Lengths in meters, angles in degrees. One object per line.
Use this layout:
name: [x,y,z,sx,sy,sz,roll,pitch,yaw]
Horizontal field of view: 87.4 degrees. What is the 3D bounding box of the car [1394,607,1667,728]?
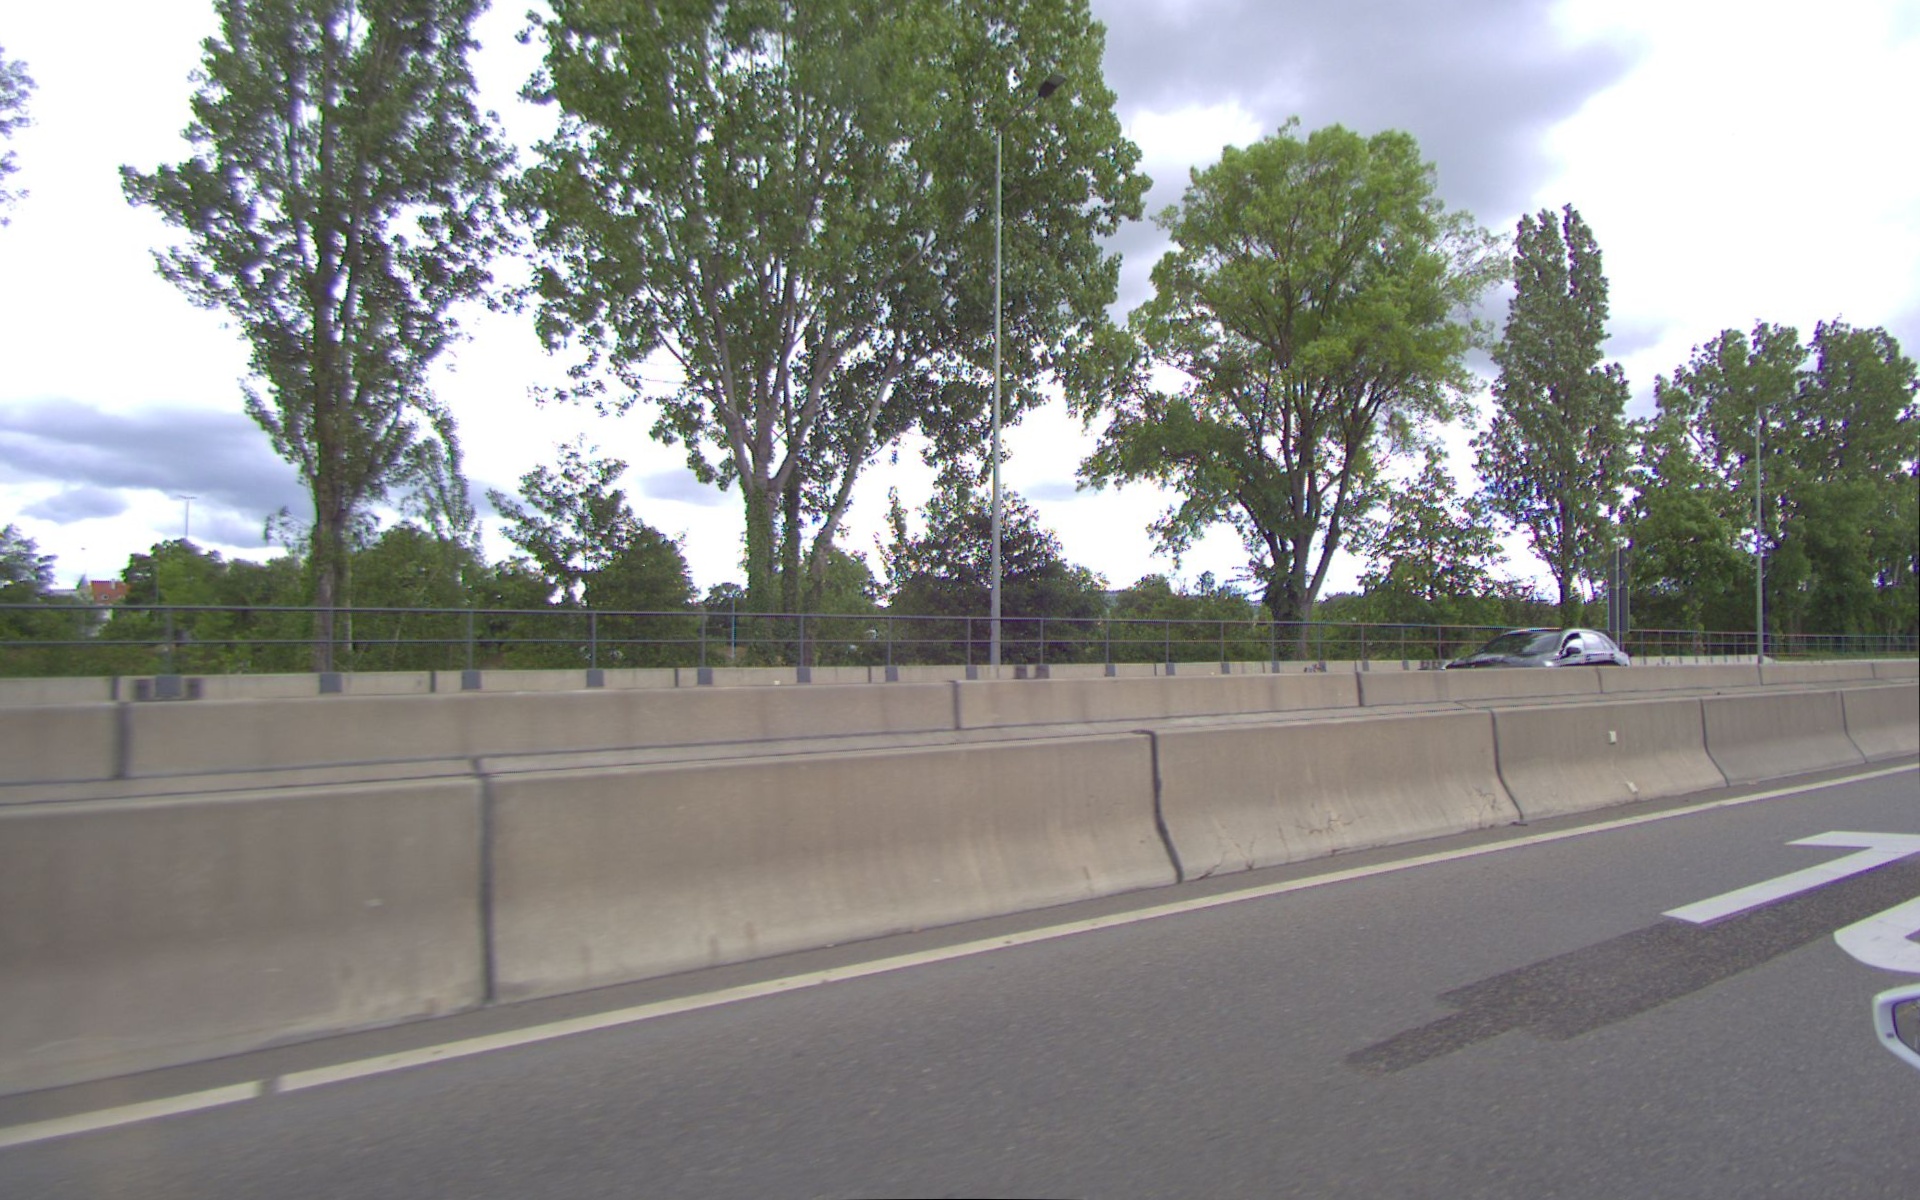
car: [10.724,1.174,18.807,4.945,1.951,2.317,2,0,-31]
